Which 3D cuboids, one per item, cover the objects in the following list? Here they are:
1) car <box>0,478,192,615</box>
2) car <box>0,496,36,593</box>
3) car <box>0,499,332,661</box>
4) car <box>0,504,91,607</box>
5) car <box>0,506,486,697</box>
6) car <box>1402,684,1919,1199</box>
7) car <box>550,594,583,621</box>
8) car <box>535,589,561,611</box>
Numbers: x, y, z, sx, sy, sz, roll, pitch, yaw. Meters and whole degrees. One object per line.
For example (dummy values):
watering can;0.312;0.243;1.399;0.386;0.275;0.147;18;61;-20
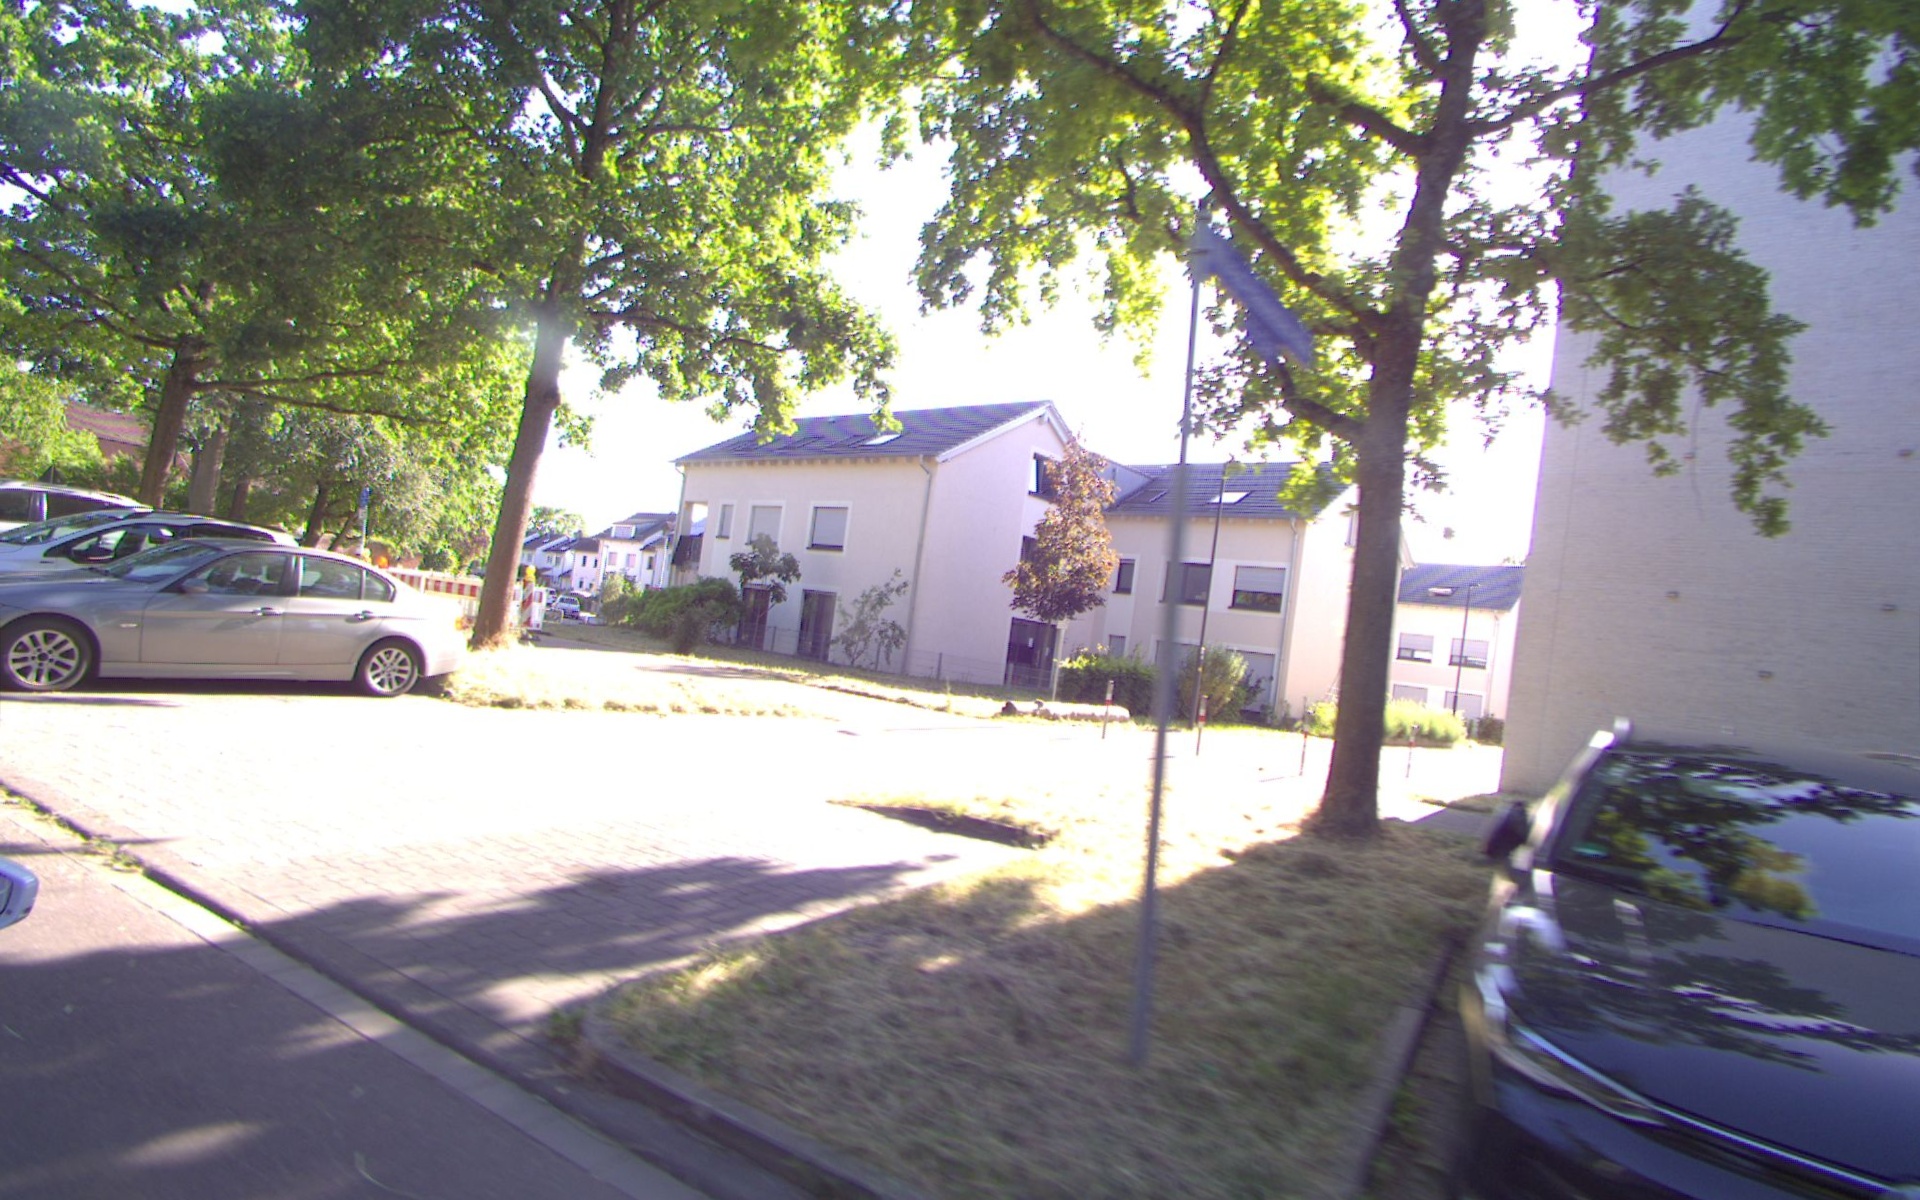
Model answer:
car;-13.478;-0.856;13.656;1.819;1.671;4.392;7;-1;30
car;-17.977;-1.250;16.085;1.901;1.586;4.225;7;-3;30
car;-9.603;-0.230;11.270;1.747;1.515;3.891;7;-1;31
car;-15.730;-0.912;14.800;1.870;1.449;3.994;7;-2;33
car;-7.234;0.067;9.669;1.879;1.406;4.453;7;-2;31
car;3.010;1.196;3.770;1.884;1.473;4.678;7;-1;31
car;-27.321;0.480;69.808;1.716;1.573;3.448;9;-3;-25
car;-35.449;0.013;86.570;1.716;1.573;3.448;9;-3;-25
